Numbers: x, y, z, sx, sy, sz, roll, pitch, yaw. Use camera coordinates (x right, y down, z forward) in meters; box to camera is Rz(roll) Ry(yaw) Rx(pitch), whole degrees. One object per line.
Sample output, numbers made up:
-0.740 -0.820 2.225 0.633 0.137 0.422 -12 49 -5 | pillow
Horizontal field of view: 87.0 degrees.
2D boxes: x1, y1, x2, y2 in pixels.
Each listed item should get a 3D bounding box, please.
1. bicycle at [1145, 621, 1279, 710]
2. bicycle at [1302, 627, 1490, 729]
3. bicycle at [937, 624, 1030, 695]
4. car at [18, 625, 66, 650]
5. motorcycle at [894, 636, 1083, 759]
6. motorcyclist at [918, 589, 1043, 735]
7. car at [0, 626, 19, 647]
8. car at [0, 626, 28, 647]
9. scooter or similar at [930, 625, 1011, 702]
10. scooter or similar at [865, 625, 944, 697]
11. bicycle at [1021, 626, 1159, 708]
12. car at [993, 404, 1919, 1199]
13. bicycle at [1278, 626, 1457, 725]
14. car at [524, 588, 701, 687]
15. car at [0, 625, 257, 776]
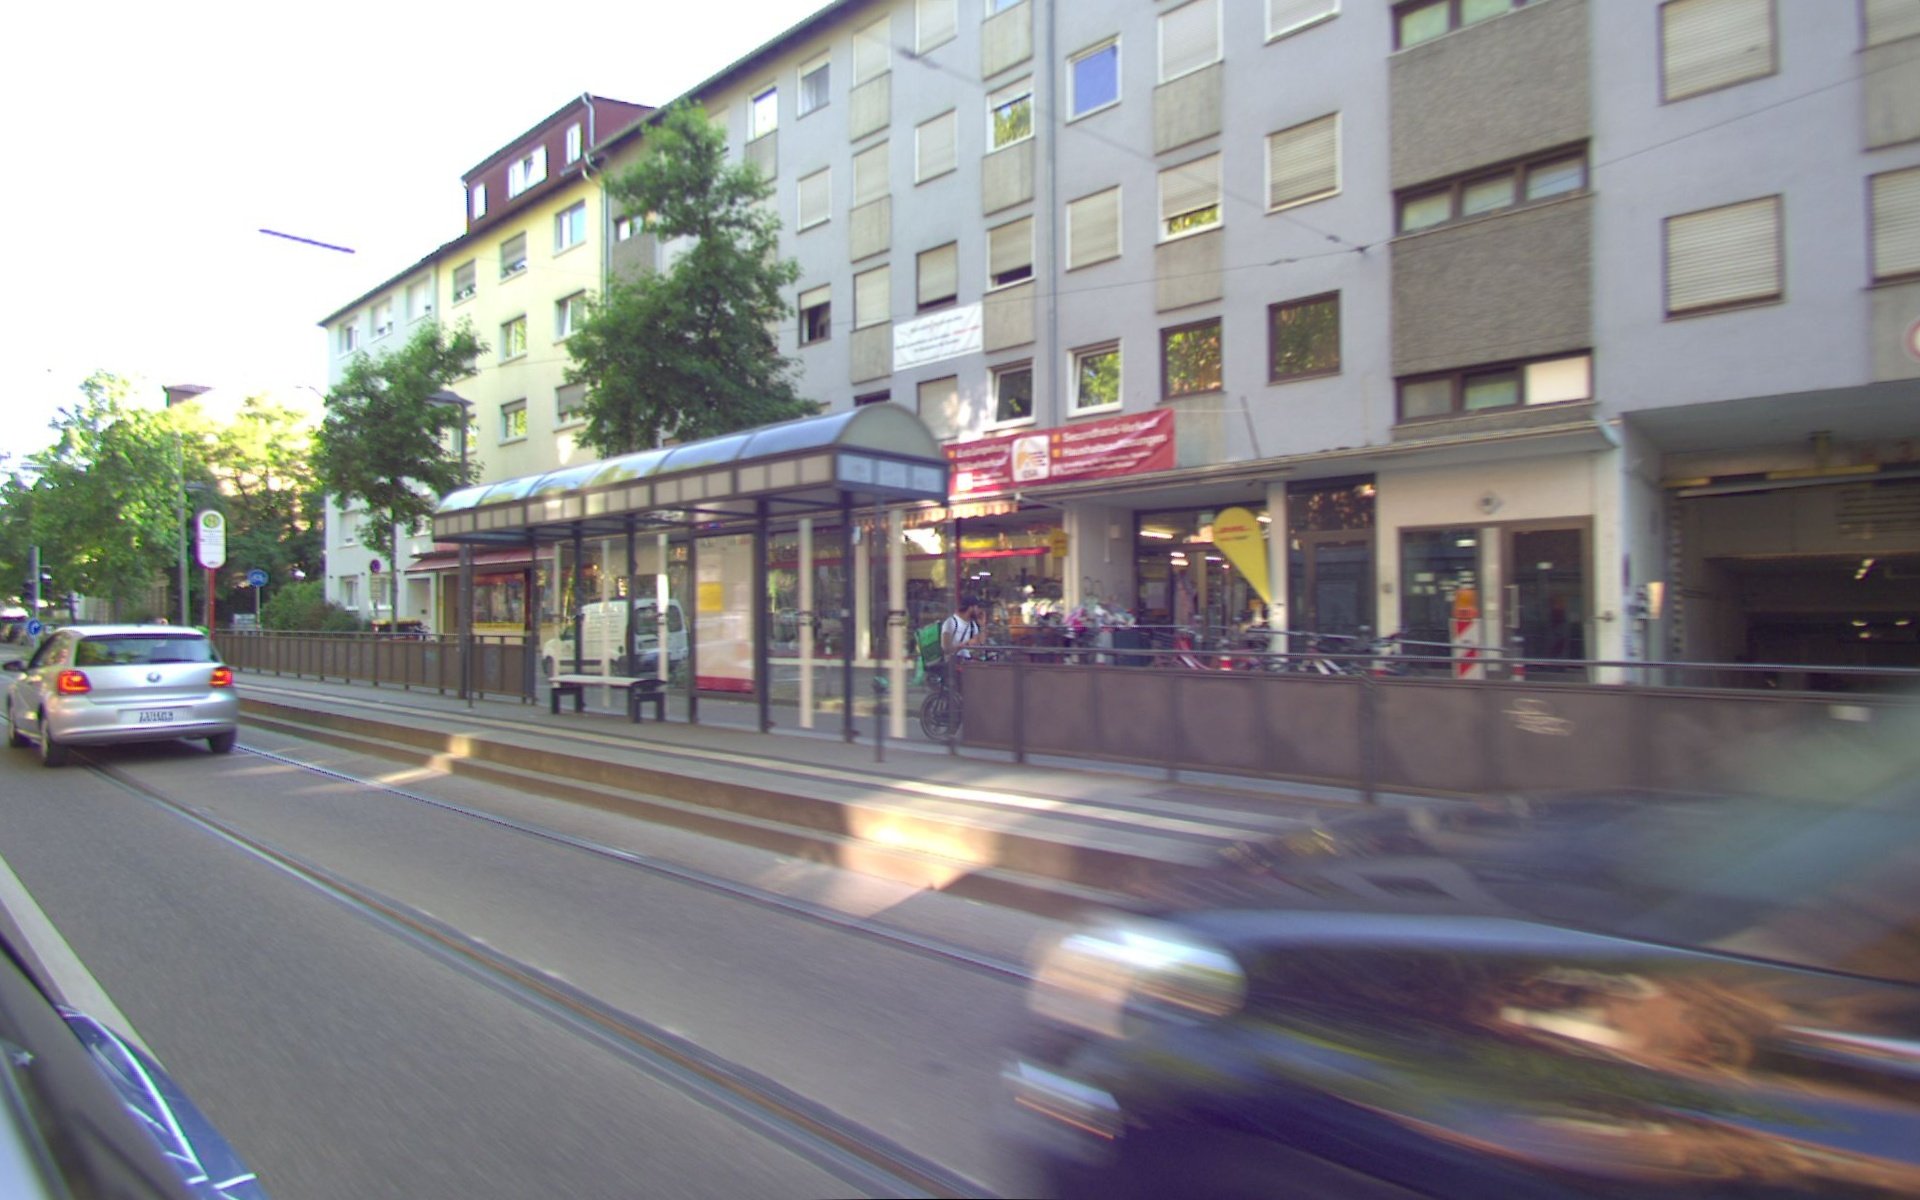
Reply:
3.470 0.880 14.027 1.748 1.165 0.488 -1 -2 36 | bicycle
5.214 0.905 12.183 2.019 1.165 0.556 -1 -2 26 | bicycle
0.374 0.988 17.216 1.688 1.165 0.506 -2 -2 44 | bicycle
-57.332 2.321 63.175 3.678 1.541 1.971 -2 -2 44 | car
0.274 0.972 10.720 1.914 1.173 0.840 -1 -2 41 | motorcycle
0.220 0.637 10.758 1.015 1.451 0.864 -1 -2 40 | motorcyclist
-72.782 2.781 76.633 3.678 1.541 1.971 -2 -2 44 | car
-69.157 2.637 73.456 3.678 1.541 1.971 -2 -2 44 | car
0.161 0.990 16.111 1.272 1.183 0.440 -1 -2 36 | scooter or similar
-0.919 1.010 16.874 1.259 1.183 0.445 0 -2 5 | scooter or similar
1.928 0.975 15.188 2.033 1.165 0.565 -1 -2 36 | bicycle
2.131 0.633 0.857 3.996 1.601 1.744 -1 -2 40 | car
5.057 0.906 12.629 2.019 1.165 0.556 -1 -2 26 | bicycle
-7.569 0.791 21.881 4.046 1.949 1.785 -1 -2 40 | car
-9.742 1.017 11.689 3.998 1.437 1.743 -1 -2 41 | car
